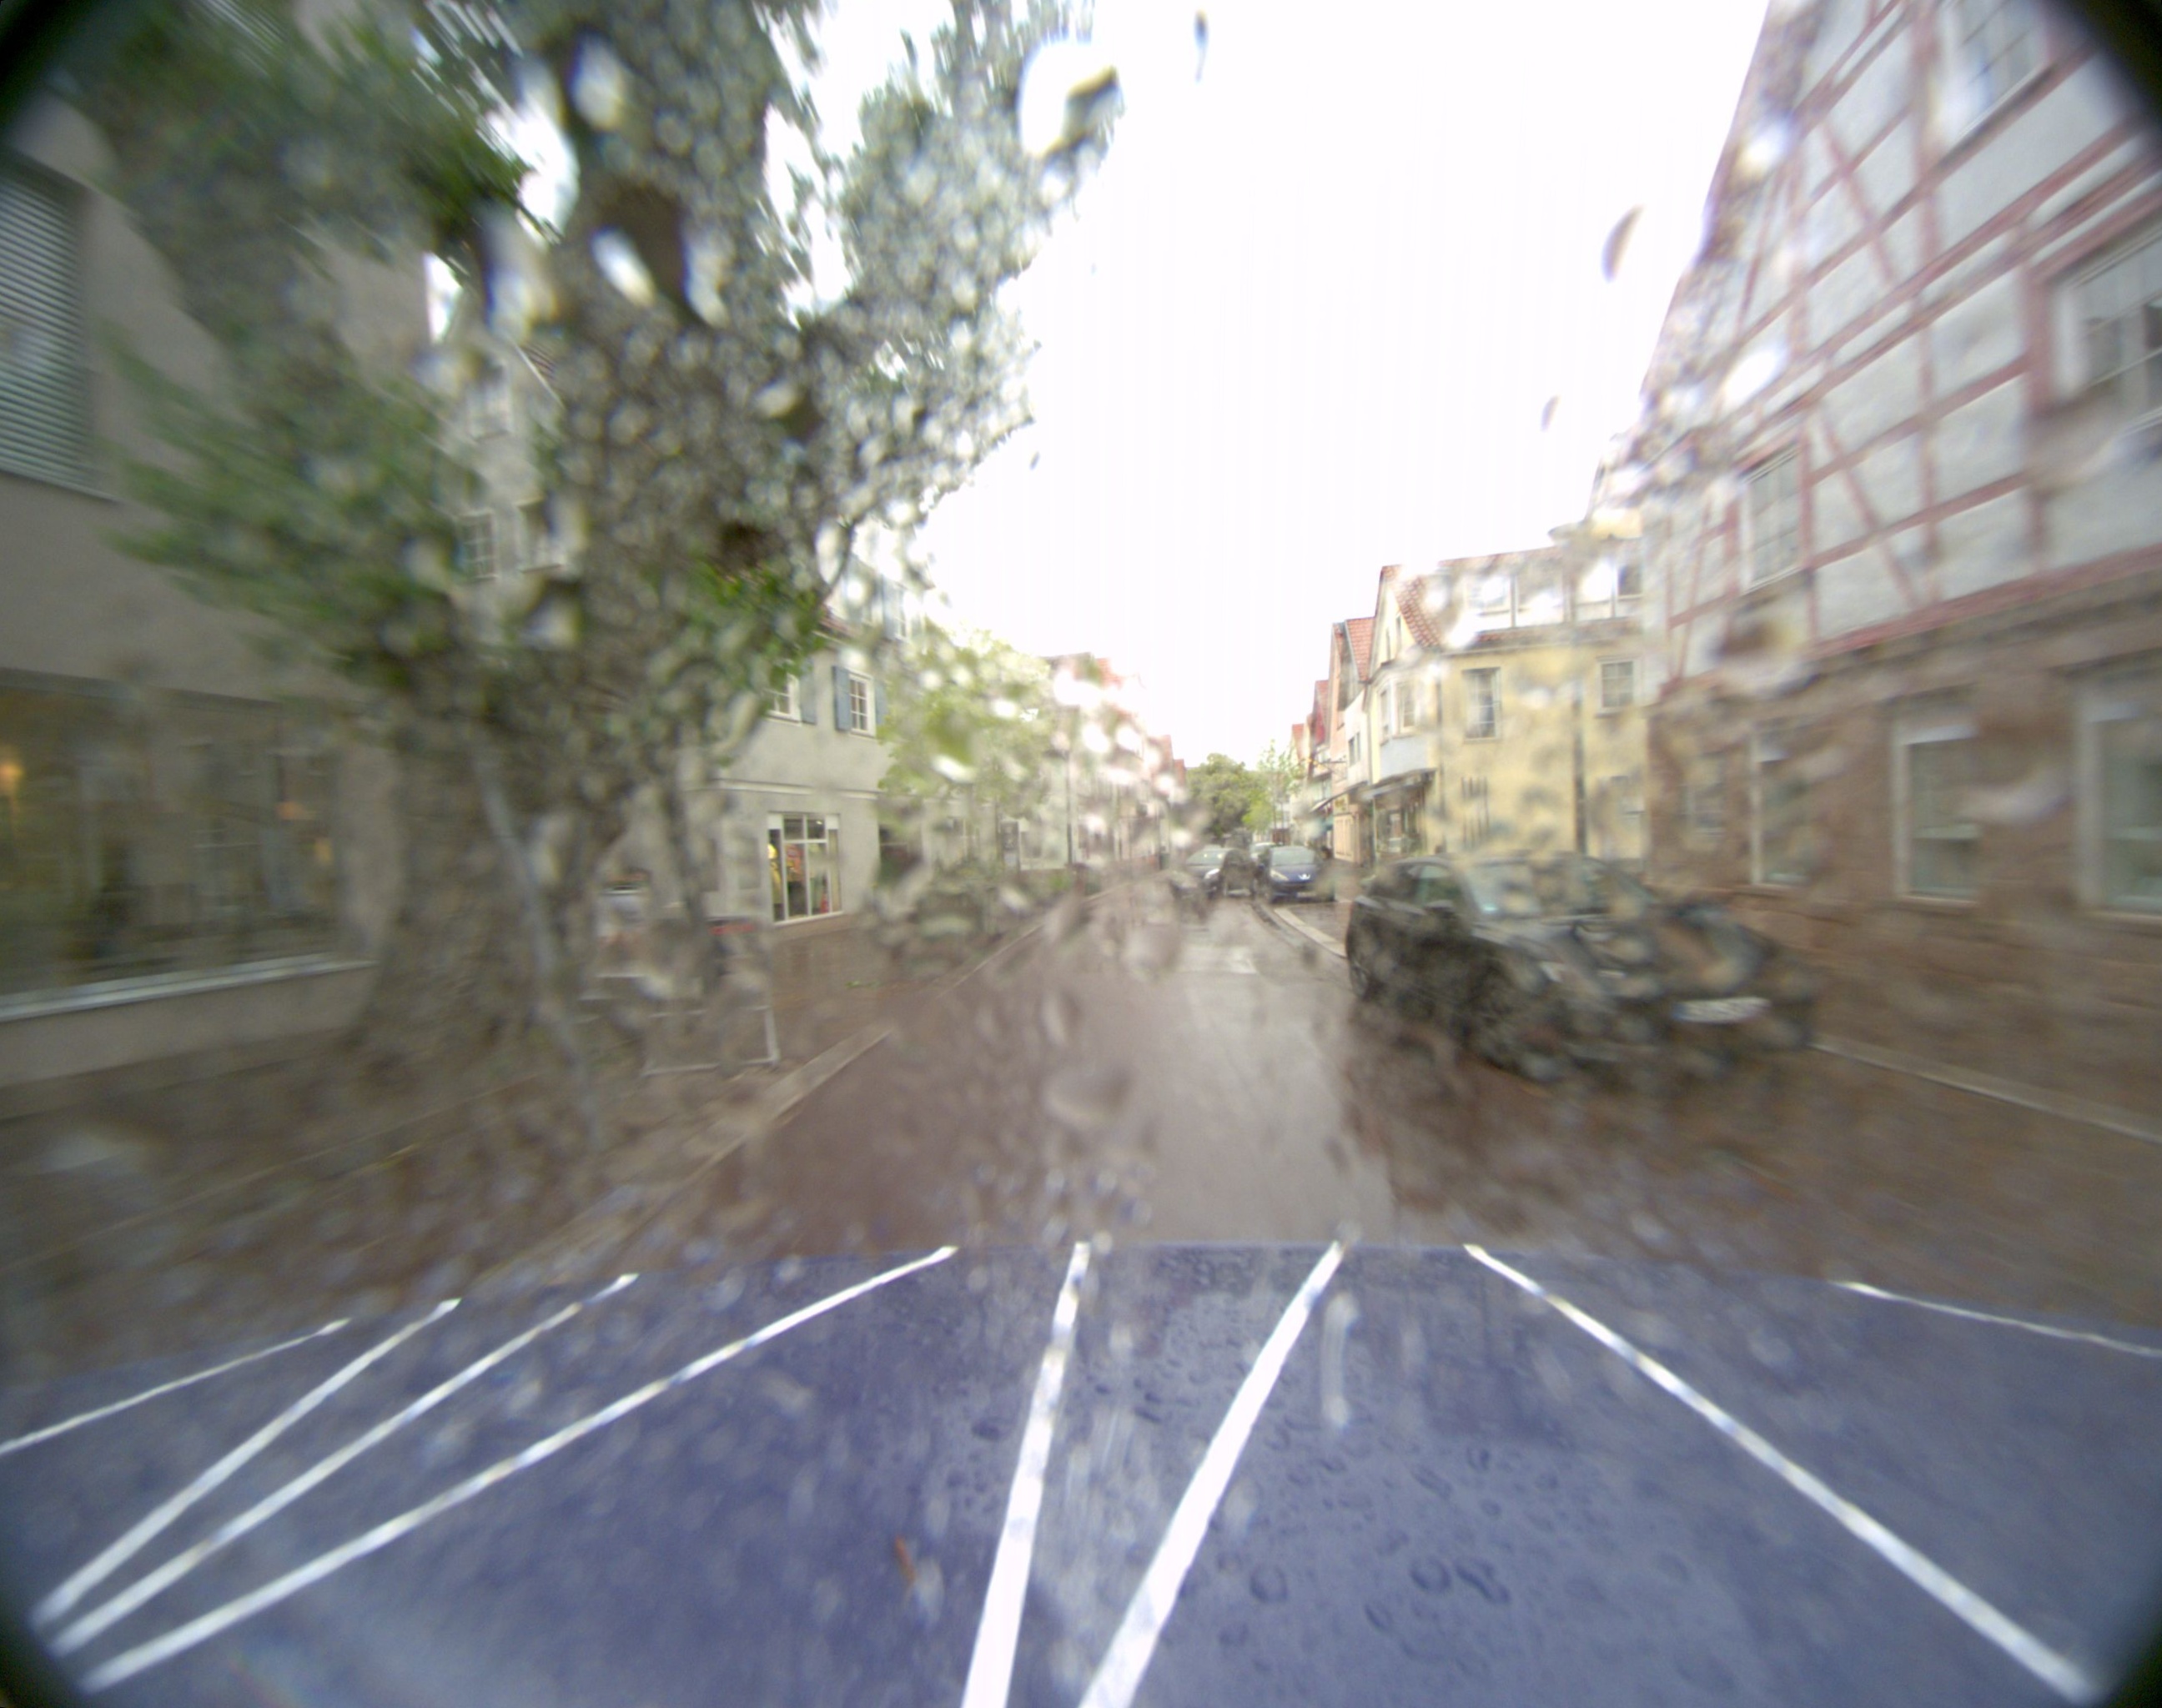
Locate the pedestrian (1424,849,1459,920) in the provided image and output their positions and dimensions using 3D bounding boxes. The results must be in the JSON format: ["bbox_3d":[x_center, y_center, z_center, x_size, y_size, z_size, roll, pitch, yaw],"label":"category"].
[{"bbox_3d":[6.831,0.571,14.404,0.455,1.300,0.517,-2,1,10],"label":"pedestrian"}]

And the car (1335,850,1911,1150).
[{"bbox_3d":[3.603,0.782,6.103,1.694,1.477,3.999,-4,1,0],"label":"car"}]

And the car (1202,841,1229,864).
[{"bbox_3d":[11.182,-0.144,62.975,1.997,1.740,4.003,-2,1,13],"label":"car"}]

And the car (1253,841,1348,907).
[{"bbox_3d":[6.004,0.476,21.222,1.997,1.520,4.002,-5,0,9],"label":"car"}]

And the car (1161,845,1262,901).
[{"bbox_3d":[4.165,0.549,23.721,1.733,1.547,3.851,-2,1,32],"label":"car"}]

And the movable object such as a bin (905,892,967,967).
[{"bbox_3d":[-2.186,1.131,11.495,0.765,1.068,0.537,-2,1,5],"label":"movable object such as a bin"}]
